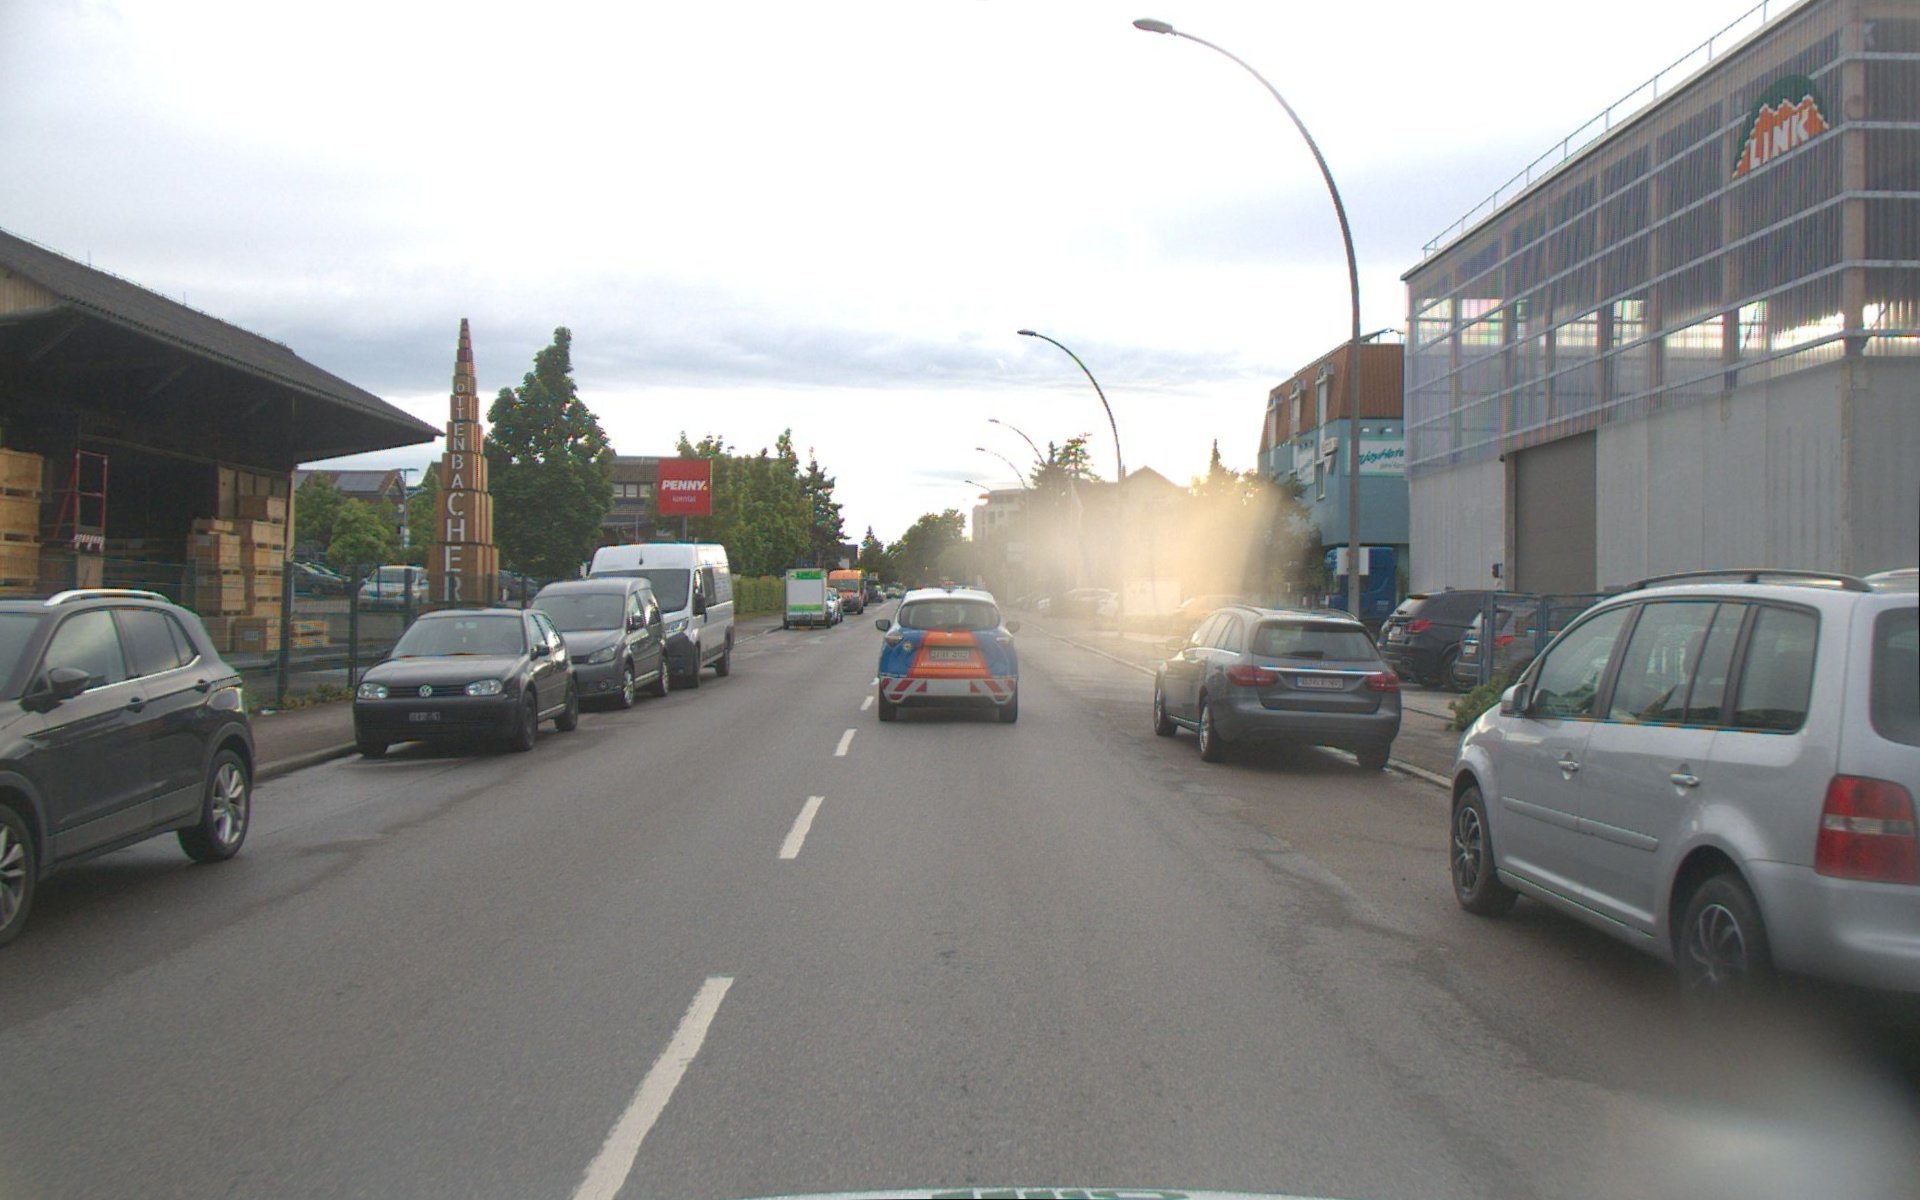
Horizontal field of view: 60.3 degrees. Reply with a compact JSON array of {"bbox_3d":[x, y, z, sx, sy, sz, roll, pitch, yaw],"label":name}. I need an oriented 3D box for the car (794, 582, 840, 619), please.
[{"bbox_3d":[-6.234,0.002,72.366,1.736,1.525,4.135,0,1,-2],"label":"car"}]

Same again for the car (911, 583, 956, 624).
[{"bbox_3d":[-1.082,0.149,66.592,1.617,1.548,3.998,2,0,-3],"label":"car"}]

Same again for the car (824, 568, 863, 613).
[{"bbox_3d":[-6.818,-0.563,97.384,2.082,2.582,6.019,0,1,-2],"label":"car"}]

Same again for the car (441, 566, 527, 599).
[{"bbox_3d":[-24.678,-0.916,85.914,3.976,1.578,1.883,2,0,-6],"label":"car"}]

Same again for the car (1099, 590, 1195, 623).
[{"bbox_3d":[8.931,0.314,79.274,4.326,1.417,1.879,2,0,-2],"label":"car"}]

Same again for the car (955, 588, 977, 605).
[{"bbox_3d":[0.531,-0.323,151.977,1.677,1.463,4.523,2,0,-4],"label":"car"}]

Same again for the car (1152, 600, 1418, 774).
[{"bbox_3d":[3.134,0.771,16.864,1.703,1.492,4.544,2,0,-1],"label":"car"}]

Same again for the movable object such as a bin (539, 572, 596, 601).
[{"bbox_3d":[-25.438,-0.863,107.263,3.357,1.790,1.997,2,0,-8],"label":"movable object such as a bin"}]

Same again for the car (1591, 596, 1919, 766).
[{"bbox_3d":[9.350,0.853,17.815,4.356,1.653,1.893,2,0,-2],"label":"car"}]

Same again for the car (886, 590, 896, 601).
[{"bbox_3d":[-9.651,-0.654,232.636,1.358,1.509,3.782,0,0,-3],"label":"car"}]

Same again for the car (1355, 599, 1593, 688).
[{"bbox_3d":[9.602,0.790,31.110,3.885,1.516,1.833,2,0,0],"label":"car"}]

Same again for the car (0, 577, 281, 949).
[{"bbox_3d":[-5.031,0.727,8.398,1.627,1.612,3.915,-1,0,-2],"label":"car"}]

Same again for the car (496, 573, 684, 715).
[{"bbox_3d":[-5.325,0.589,24.387,1.734,1.799,4.445,-3,0,-1],"label":"car"}]

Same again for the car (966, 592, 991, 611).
[{"bbox_3d":[1.308,0.109,119.816,1.558,1.364,4.090,1,0,-3],"label":"car"}]

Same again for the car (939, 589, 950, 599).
[{"bbox_3d":[-2.380,-0.919,254.023,1.617,1.509,3.998,2,0,-3],"label":"car"}]

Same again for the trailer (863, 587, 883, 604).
[{"bbox_3d":[-7.743,-0.449,146.641,1.683,1.282,5.242,2,2,-3],"label":"trailer"}]

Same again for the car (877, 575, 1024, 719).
[{"bbox_3d":[-0.169,0.547,20.884,1.697,1.659,3.493,0,0,-2],"label":"car"}]

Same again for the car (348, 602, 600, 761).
[{"bbox_3d":[-5.108,0.777,17.951,1.628,1.474,4.315,-1,0,-3],"label":"car"}]

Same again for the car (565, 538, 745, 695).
[{"bbox_3d":[-5.393,0.244,30.178,2.114,2.469,6.458,-2,0,-1],"label":"car"}]

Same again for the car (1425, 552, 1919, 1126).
[{"bbox_3d":[3.421,0.716,6.964,1.703,1.650,4.373,2,0,1],"label":"car"}]

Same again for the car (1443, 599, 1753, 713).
[{"bbox_3d":[9.973,0.854,26.061,4.157,1.563,1.811,2,0,-1],"label":"car"}]

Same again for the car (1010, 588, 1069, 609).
[{"bbox_3d":[5.516,-0.087,114.599,3.907,1.288,1.950,2,0,-3],"label":"car"}]

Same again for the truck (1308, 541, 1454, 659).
[{"bbox_3d":[14.574,-0.004,57.451,4.063,3.737,2.718,4,0,-4],"label":"truck"}]

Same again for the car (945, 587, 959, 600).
[{"bbox_3d":[-1.079,-0.851,222.118,1.617,1.701,3.998,2,0,-3],"label":"car"}]

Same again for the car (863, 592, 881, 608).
[{"bbox_3d":[-8.230,0.024,154.288,1.526,1.458,3.999,2,0,-1],"label":"car"}]

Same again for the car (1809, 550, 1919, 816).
[{"bbox_3d":[9.229,0.666,12.445,4.636,1.919,1.999,2,0,-1],"label":"car"}]

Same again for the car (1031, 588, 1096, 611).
[{"bbox_3d":[6.416,-0.006,102.944,3.905,1.288,1.951,2,0,0],"label":"car"}]

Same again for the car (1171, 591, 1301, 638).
[{"bbox_3d":[8.886,0.459,53.424,3.907,1.455,1.630,1,0,-3],"label":"car"}]

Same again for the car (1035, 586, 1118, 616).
[{"bbox_3d":[6.305,0.054,89.776,4.251,1.501,1.902,1,0,-2],"label":"car"}]

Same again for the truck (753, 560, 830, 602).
[{"bbox_3d":[-13.426,-1.482,131.868,5.791,3.127,2.449,2,0,-1],"label":"truck"}]

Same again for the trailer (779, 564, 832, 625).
[{"bbox_3d":[-6.275,-0.247,67.554,1.776,2.354,4.729,-2,1,-2],"label":"trailer"}]

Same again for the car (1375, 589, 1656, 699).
[{"bbox_3d":[9.464,0.735,28.433,4.139,1.704,1.981,2,0,1],"label":"car"}]

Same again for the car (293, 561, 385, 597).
[{"bbox_3d":[-30.676,-1.009,81.822,3.913,1.634,1.768,2,0,-9],"label":"car"}]

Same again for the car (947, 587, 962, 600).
[{"bbox_3d":[-0.636,-0.788,200.355,1.617,1.548,3.998,2,0,-3],"label":"car"}]
